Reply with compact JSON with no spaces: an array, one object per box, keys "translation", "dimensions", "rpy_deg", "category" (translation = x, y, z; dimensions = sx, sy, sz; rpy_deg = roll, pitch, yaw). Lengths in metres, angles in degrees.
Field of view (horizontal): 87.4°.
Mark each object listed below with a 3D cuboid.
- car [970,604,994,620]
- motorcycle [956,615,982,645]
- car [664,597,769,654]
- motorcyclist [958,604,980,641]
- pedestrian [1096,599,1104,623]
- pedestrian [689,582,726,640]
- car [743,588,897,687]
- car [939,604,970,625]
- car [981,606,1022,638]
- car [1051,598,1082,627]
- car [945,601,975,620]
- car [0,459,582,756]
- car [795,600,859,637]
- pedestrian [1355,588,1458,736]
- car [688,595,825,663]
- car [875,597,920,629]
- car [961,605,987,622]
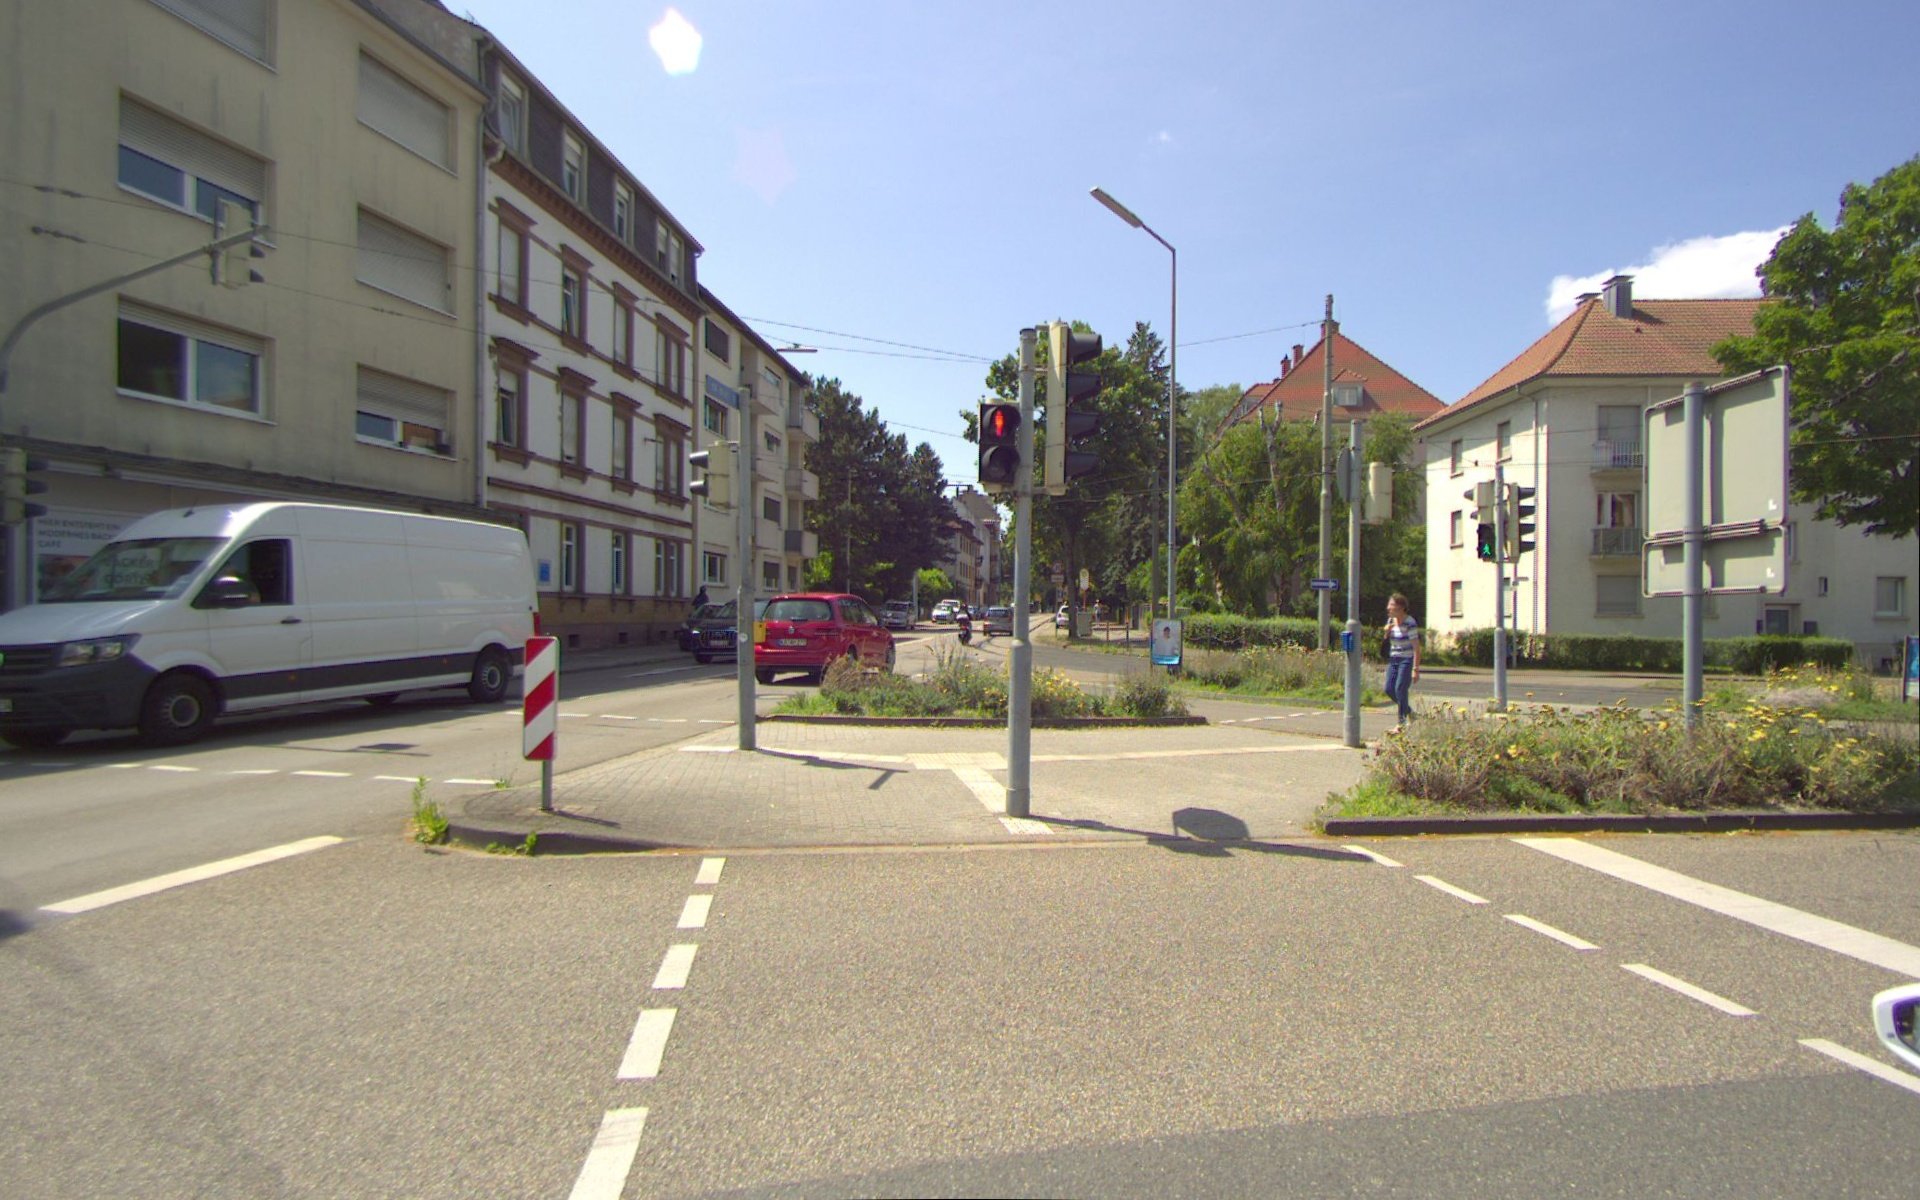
[{"translation":[2.400,1.318,107.693],"dimensions":[1.768,1.578,4.040],"rpy_deg":[4,0,11],"category":"car"},{"translation":[0.394,1.205,40.879],"dimensions":[0.699,1.149,2.198],"rpy_deg":[1,0,10],"category":"motorcycle"},{"translation":[-7.353,0.766,30.778],"dimensions":[1.960,1.539,4.002],"rpy_deg":[2,-1,4],"category":"car"},{"translation":[0.375,0.909,40.704],"dimensions":[0.699,1.465,1.020],"rpy_deg":[1,0,10],"category":"motorcyclist"},{"translation":[9.832,0.759,70.591],"dimensions":[0.500,1.678,0.466],"rpy_deg":[2,0,11],"category":"pedestrian"},{"translation":[-8.616,0.376,34.312],"dimensions":[0.919,1.957,0.977],"rpy_deg":[1,0,6],"category":"pedestrian"},{"translation":[-2.473,0.639,18.787],"dimensions":[1.768,1.578,4.040],"rpy_deg":[2,0,8],"category":"car"},{"translation":[-0.419,1.232,83.608],"dimensions":[1.768,1.578,4.040],"rpy_deg":[4,0,11],"category":"car"},{"translation":[2.265,1.144,53.735],"dimensions":[1.768,1.578,4.040],"rpy_deg":[1,0,8],"category":"car"},{"translation":[7.236,0.845,68.630],"dimensions":[1.960,1.832,4.002],"rpy_deg":[2,0,5],"category":"car"},{"translation":[0.029,0.916,89.817],"dimensions":[1.768,1.578,4.040],"rpy_deg":[4,0,11],"category":"car"},{"translation":[-7.924,0.137,12.507],"dimensions":[2.178,2.534,7.558],"rpy_deg":[-2,-1,12],"category":"car"},{"translation":[-5.820,0.788,44.347],"dimensions":[1.960,1.530,4.002],"rpy_deg":[1,-1,5],"category":"car"},{"translation":[5.372,0.729,12.114],"dimensions":[0.823,1.727,0.761],"rpy_deg":[1,0,-10],"category":"pedestrian"},{"translation":[-5.109,0.716,25.838],"dimensions":[1.820,1.578,4.288],"rpy_deg":[-1,-1,13],"category":"car"},{"translation":[-3.735,0.769,60.673],"dimensions":[1.768,1.740,4.040],"rpy_deg":[4,0,9],"category":"car"},{"translation":[1.423,1.390,101.373],"dimensions":[1.768,1.578,4.040],"rpy_deg":[4,0,11],"category":"car"}]
